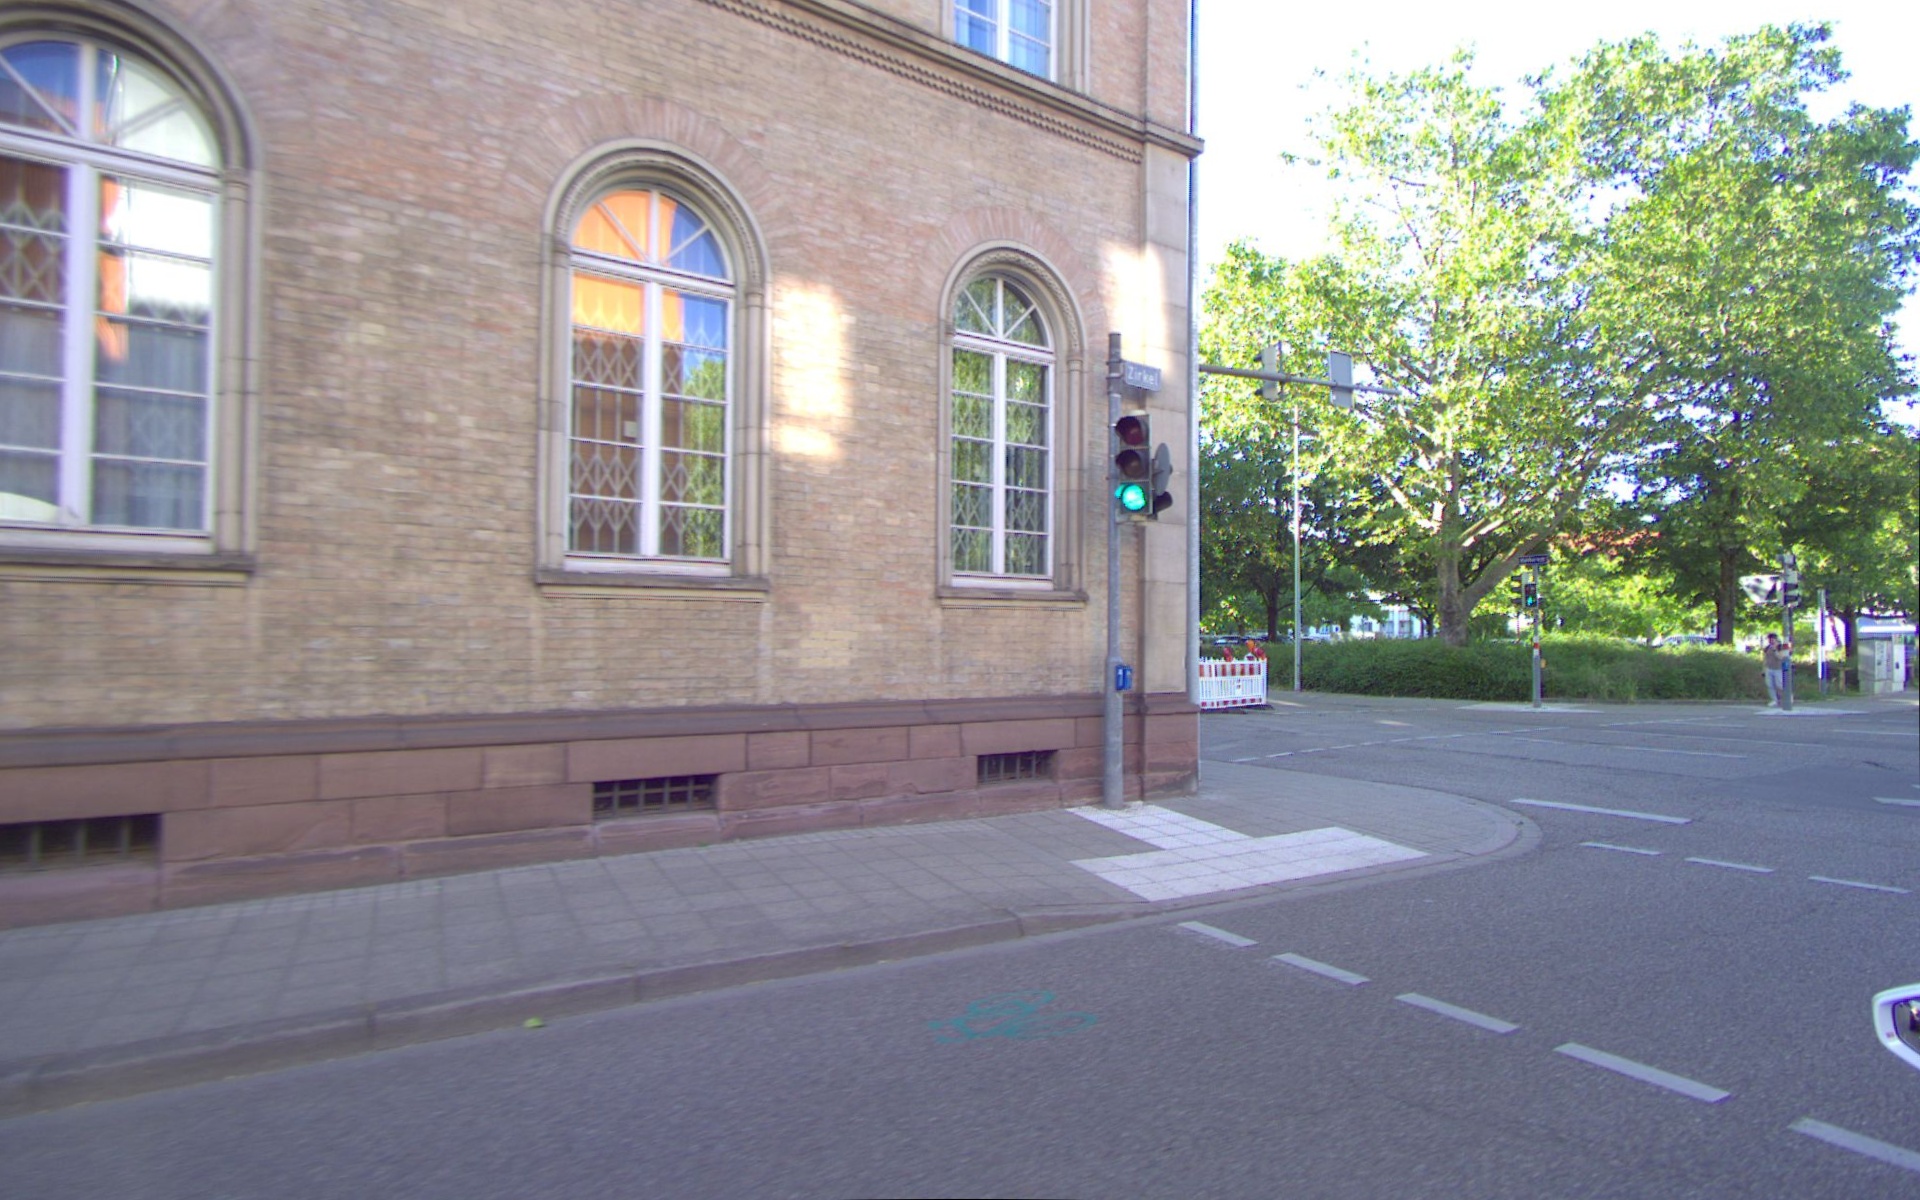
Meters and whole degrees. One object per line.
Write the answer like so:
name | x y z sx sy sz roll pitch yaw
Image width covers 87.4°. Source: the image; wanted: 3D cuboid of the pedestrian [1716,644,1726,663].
pedestrian | 55.664 3.922 73.488 0.551 1.341 0.575 -1 -2 37

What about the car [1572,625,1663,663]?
car | 43.085 2.922 65.904 2.053 2.422 4.527 2 -3 -35

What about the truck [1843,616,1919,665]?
truck | 48.169 2.025 50.925 2.067 2.431 4.796 1 -1 -35

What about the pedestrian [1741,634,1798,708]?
pedestrian | 19.393 1.690 24.069 0.942 1.745 0.701 1 -3 -26
